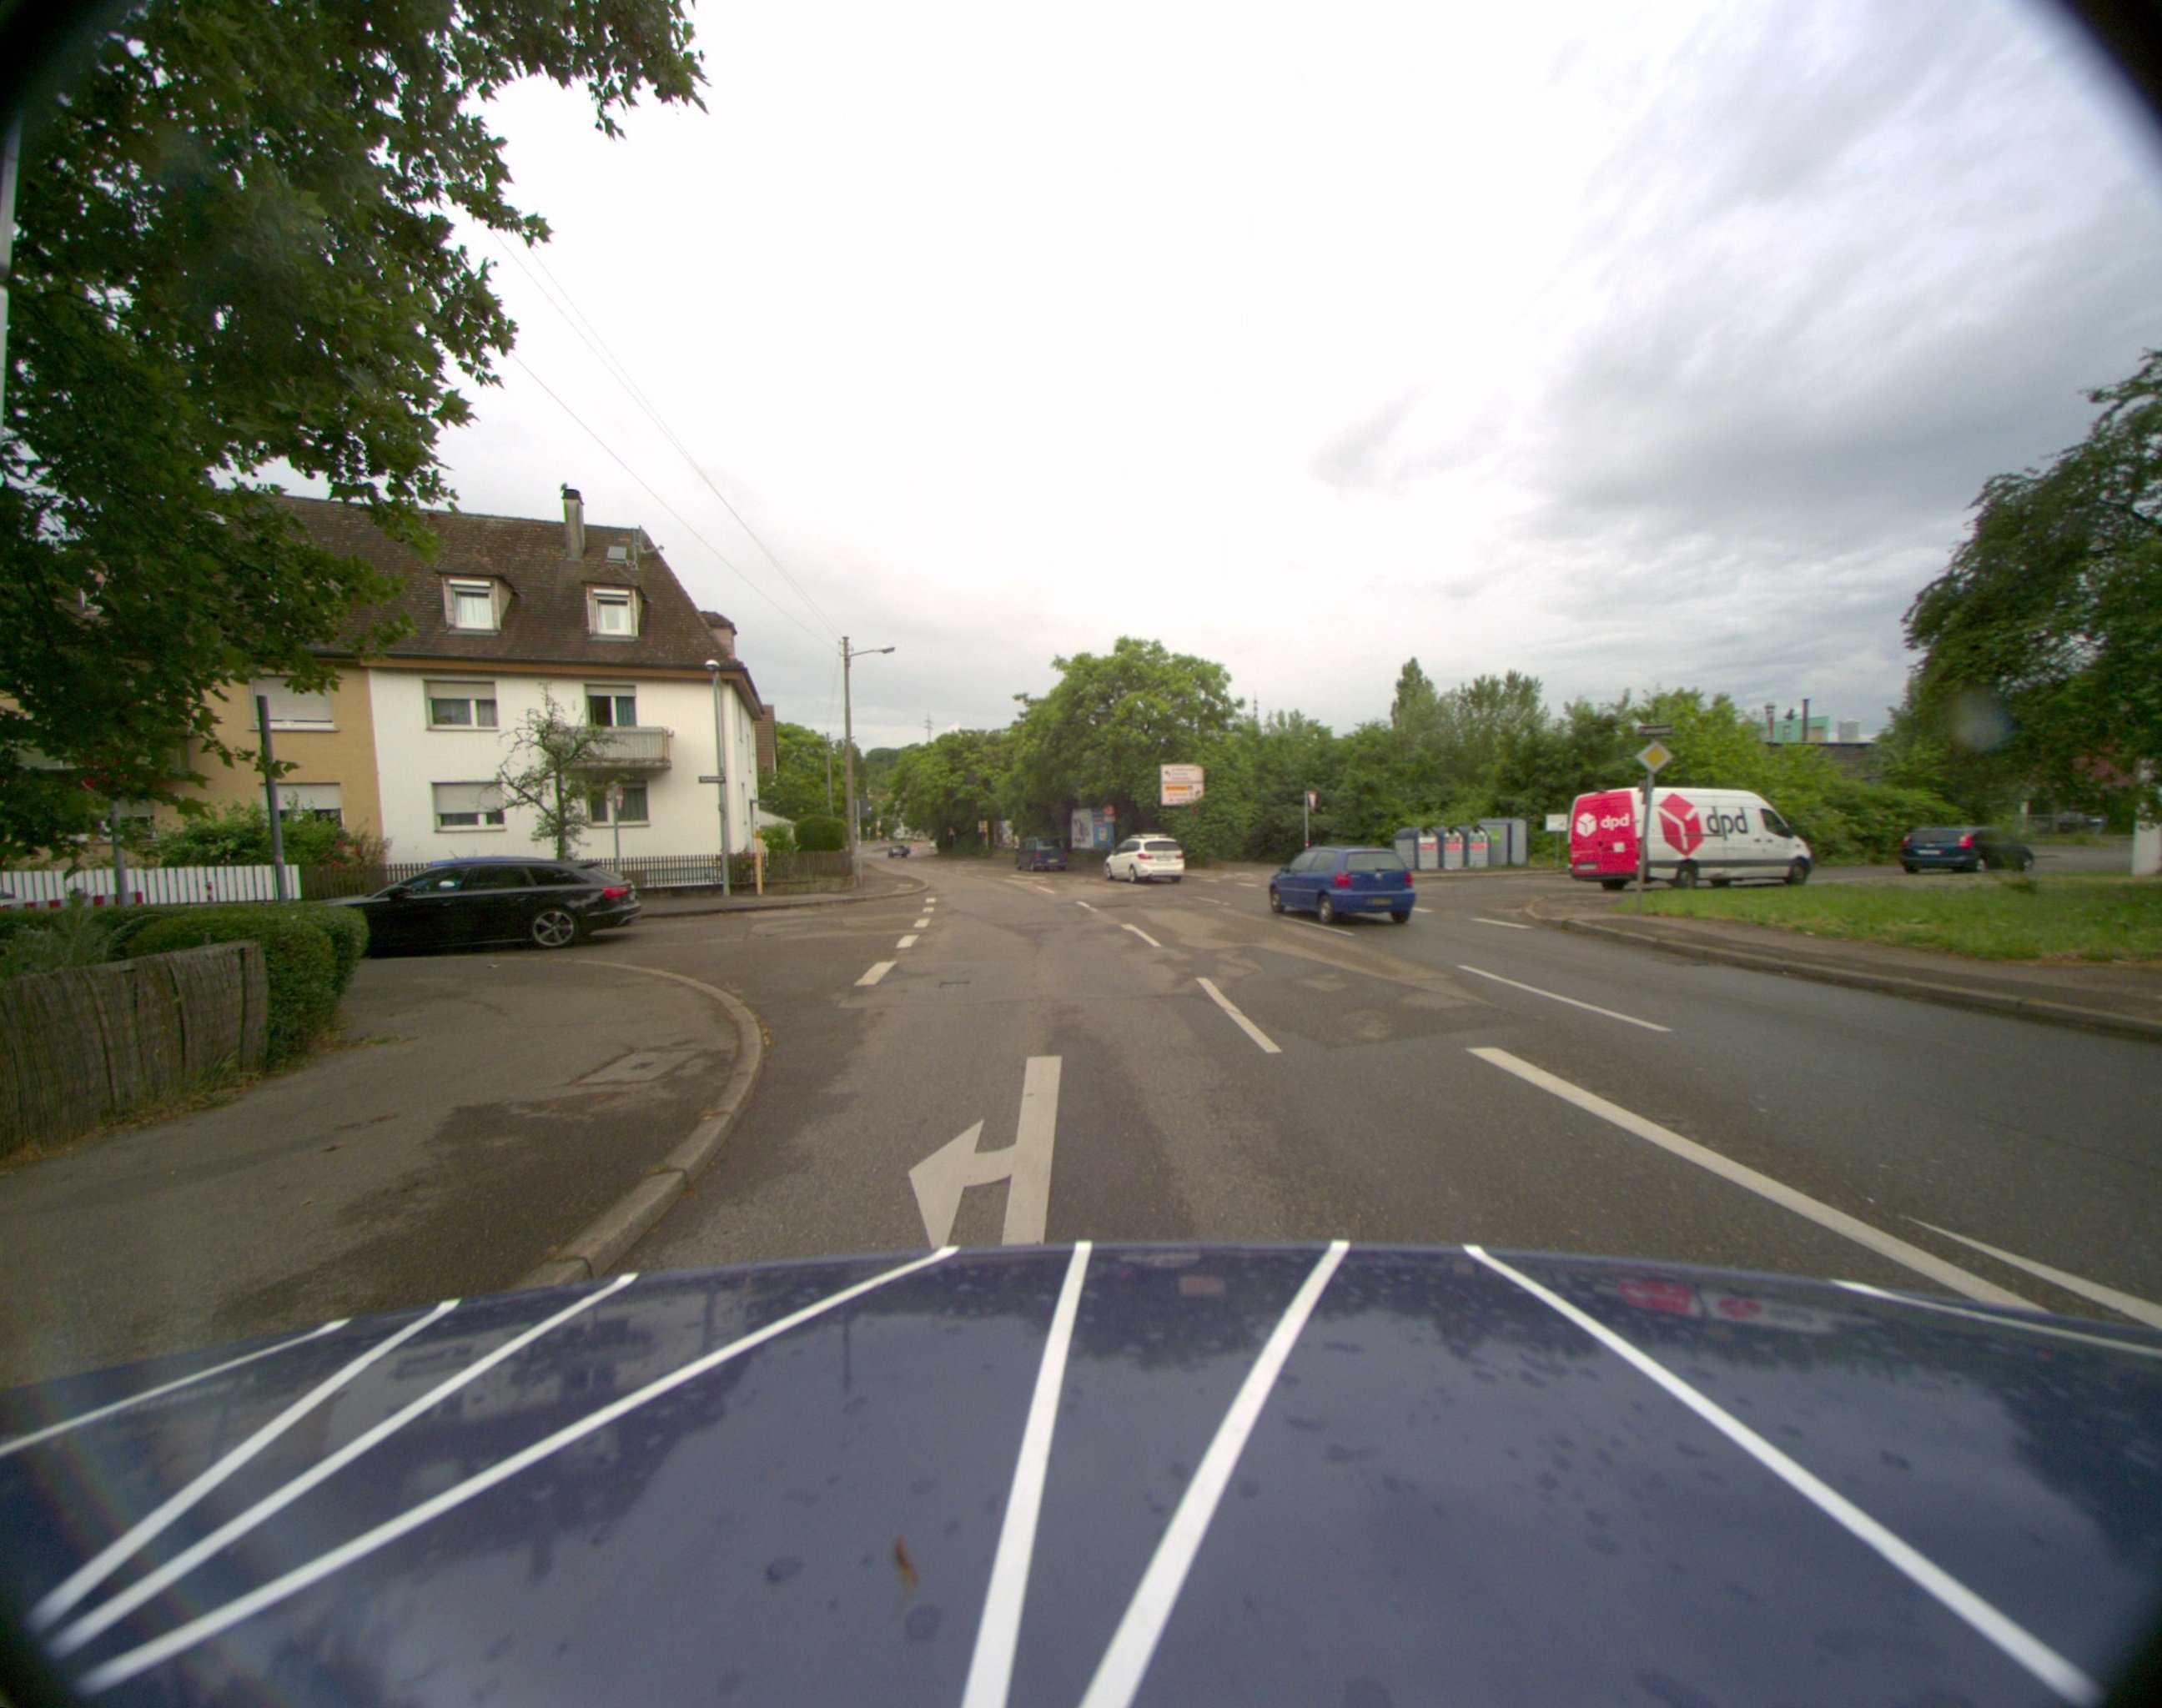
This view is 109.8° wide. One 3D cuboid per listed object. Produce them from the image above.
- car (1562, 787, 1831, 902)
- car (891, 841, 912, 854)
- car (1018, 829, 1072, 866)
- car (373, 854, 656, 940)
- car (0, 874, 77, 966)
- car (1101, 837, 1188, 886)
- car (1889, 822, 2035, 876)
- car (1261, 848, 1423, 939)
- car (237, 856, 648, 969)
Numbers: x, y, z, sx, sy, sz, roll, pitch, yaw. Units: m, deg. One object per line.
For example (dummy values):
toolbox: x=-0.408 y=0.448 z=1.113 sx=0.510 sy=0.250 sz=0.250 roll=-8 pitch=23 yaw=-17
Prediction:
car: x=16.170 y=-0.344 z=19.968 sx=6.829 sy=2.641 sz=2.259 roll=-2 pitch=2 yaw=-20
car: x=-21.138 y=-0.748 z=89.182 sx=1.903 sy=1.453 sz=3.992 roll=-2 pitch=1 yaw=-20
car: x=-2.083 y=-0.383 z=42.375 sx=1.965 sy=1.920 sz=4.676 roll=-2 pitch=1 yaw=-16
car: x=-11.118 y=0.780 z=15.297 sx=4.130 sy=1.472 sz=1.883 roll=-1 pitch=1 yaw=-17
car: x=-19.467 y=1.143 z=12.105 sx=3.788 sy=1.445 sz=1.769 roll=-2 pitch=1 yaw=-20
car: x=2.256 y=0.201 z=28.341 sx=1.838 sy=1.570 sz=4.326 roll=-3 pitch=3 yaw=-15
car: x=30.150 y=-0.206 z=26.008 sx=4.257 sy=1.620 sz=1.996 roll=-3 pitch=2 yaw=-22
car: x=4.967 y=0.664 z=14.975 sx=1.602 sy=1.418 sz=3.693 roll=-2 pitch=2 yaw=-6
car: x=-10.051 y=0.830 z=12.558 sx=4.823 sy=1.472 sz=1.882 roll=-1 pitch=1 yaw=-24
